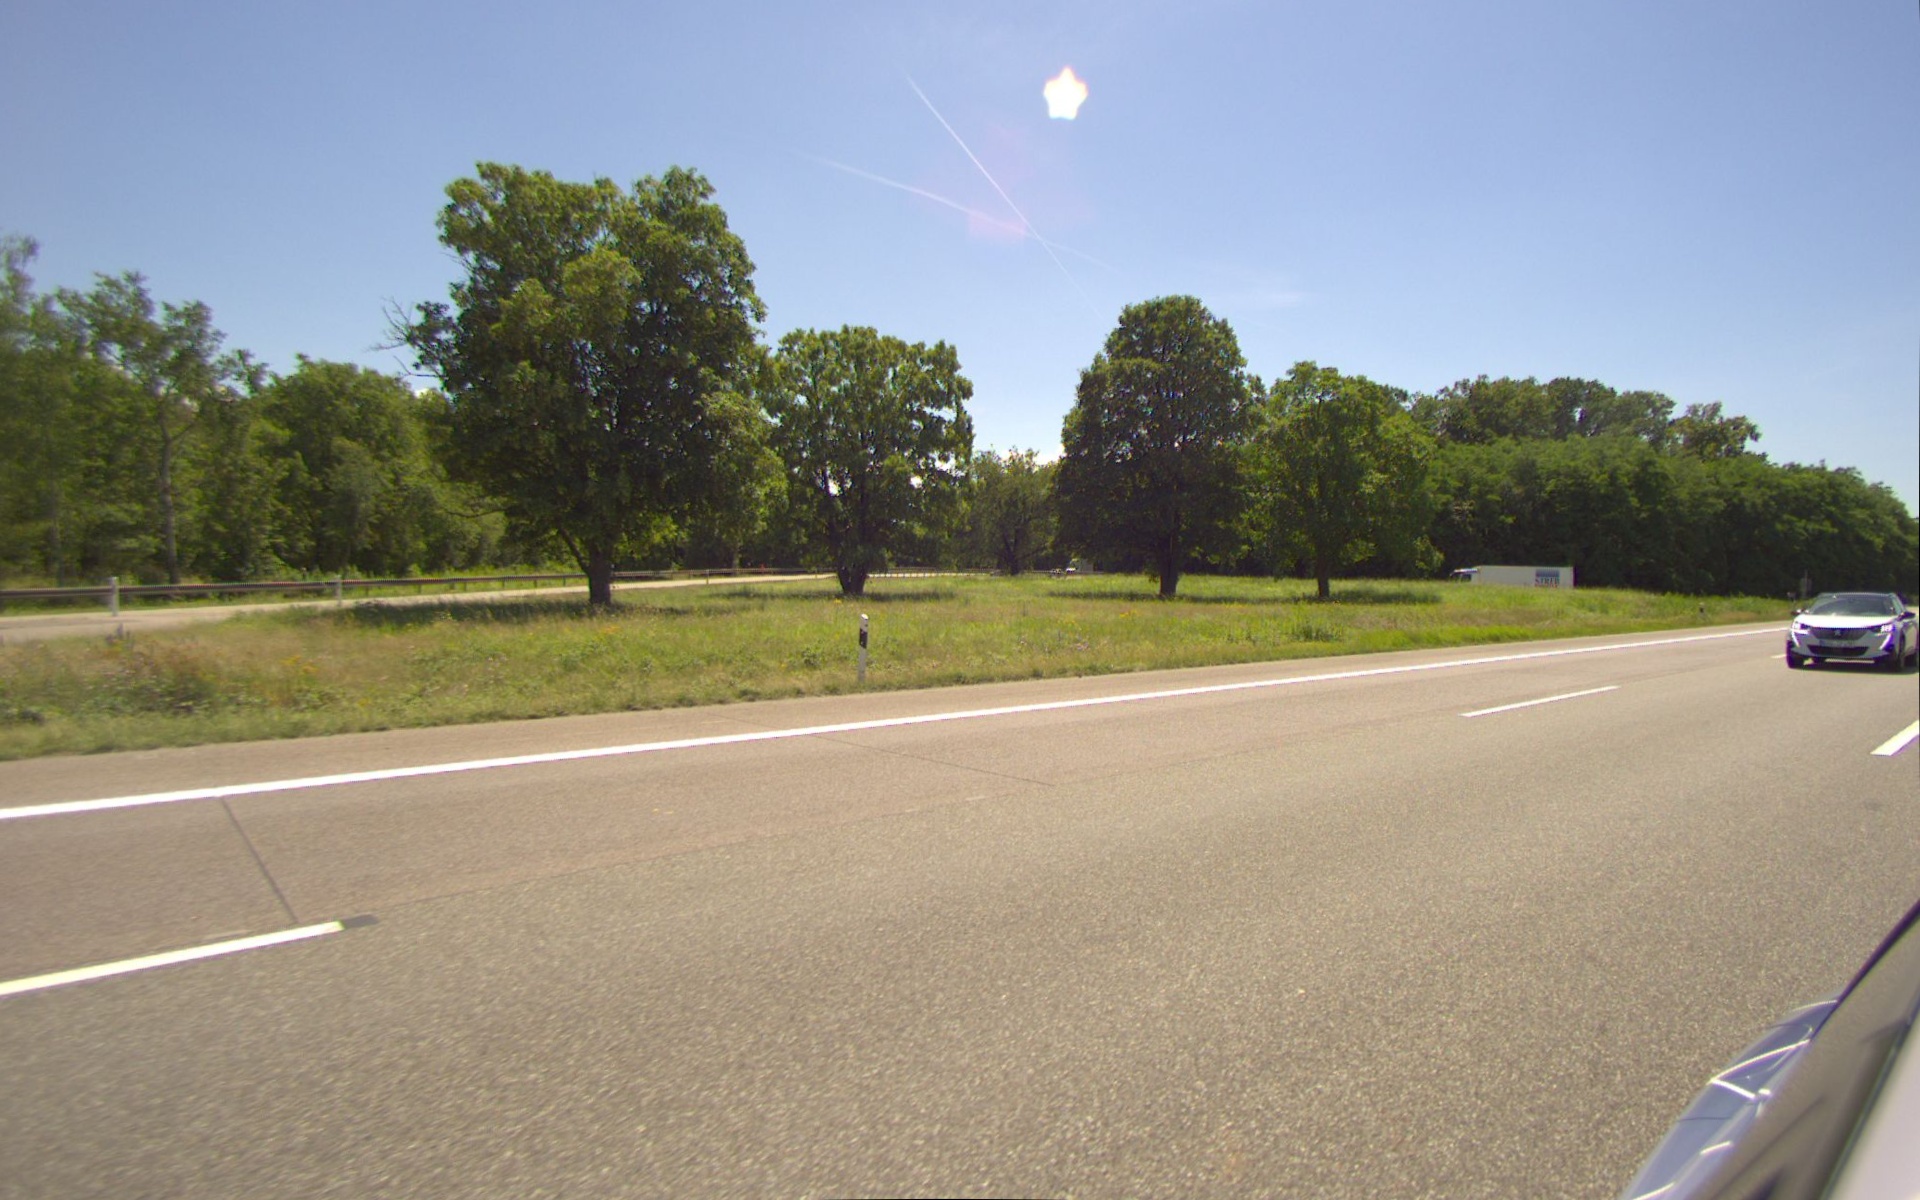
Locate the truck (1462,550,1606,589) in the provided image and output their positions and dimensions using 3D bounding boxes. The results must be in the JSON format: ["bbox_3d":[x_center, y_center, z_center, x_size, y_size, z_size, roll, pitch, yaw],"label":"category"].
[{"bbox_3d":[50.724,-2.643,89.699,10.606,3.361,3.027,0,0,13],"label":"truck"}]

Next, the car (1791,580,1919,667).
[{"bbox_3d":[19.011,0.406,21.135,4.725,1.628,1.830,-1,1,-41],"label":"car"}]
